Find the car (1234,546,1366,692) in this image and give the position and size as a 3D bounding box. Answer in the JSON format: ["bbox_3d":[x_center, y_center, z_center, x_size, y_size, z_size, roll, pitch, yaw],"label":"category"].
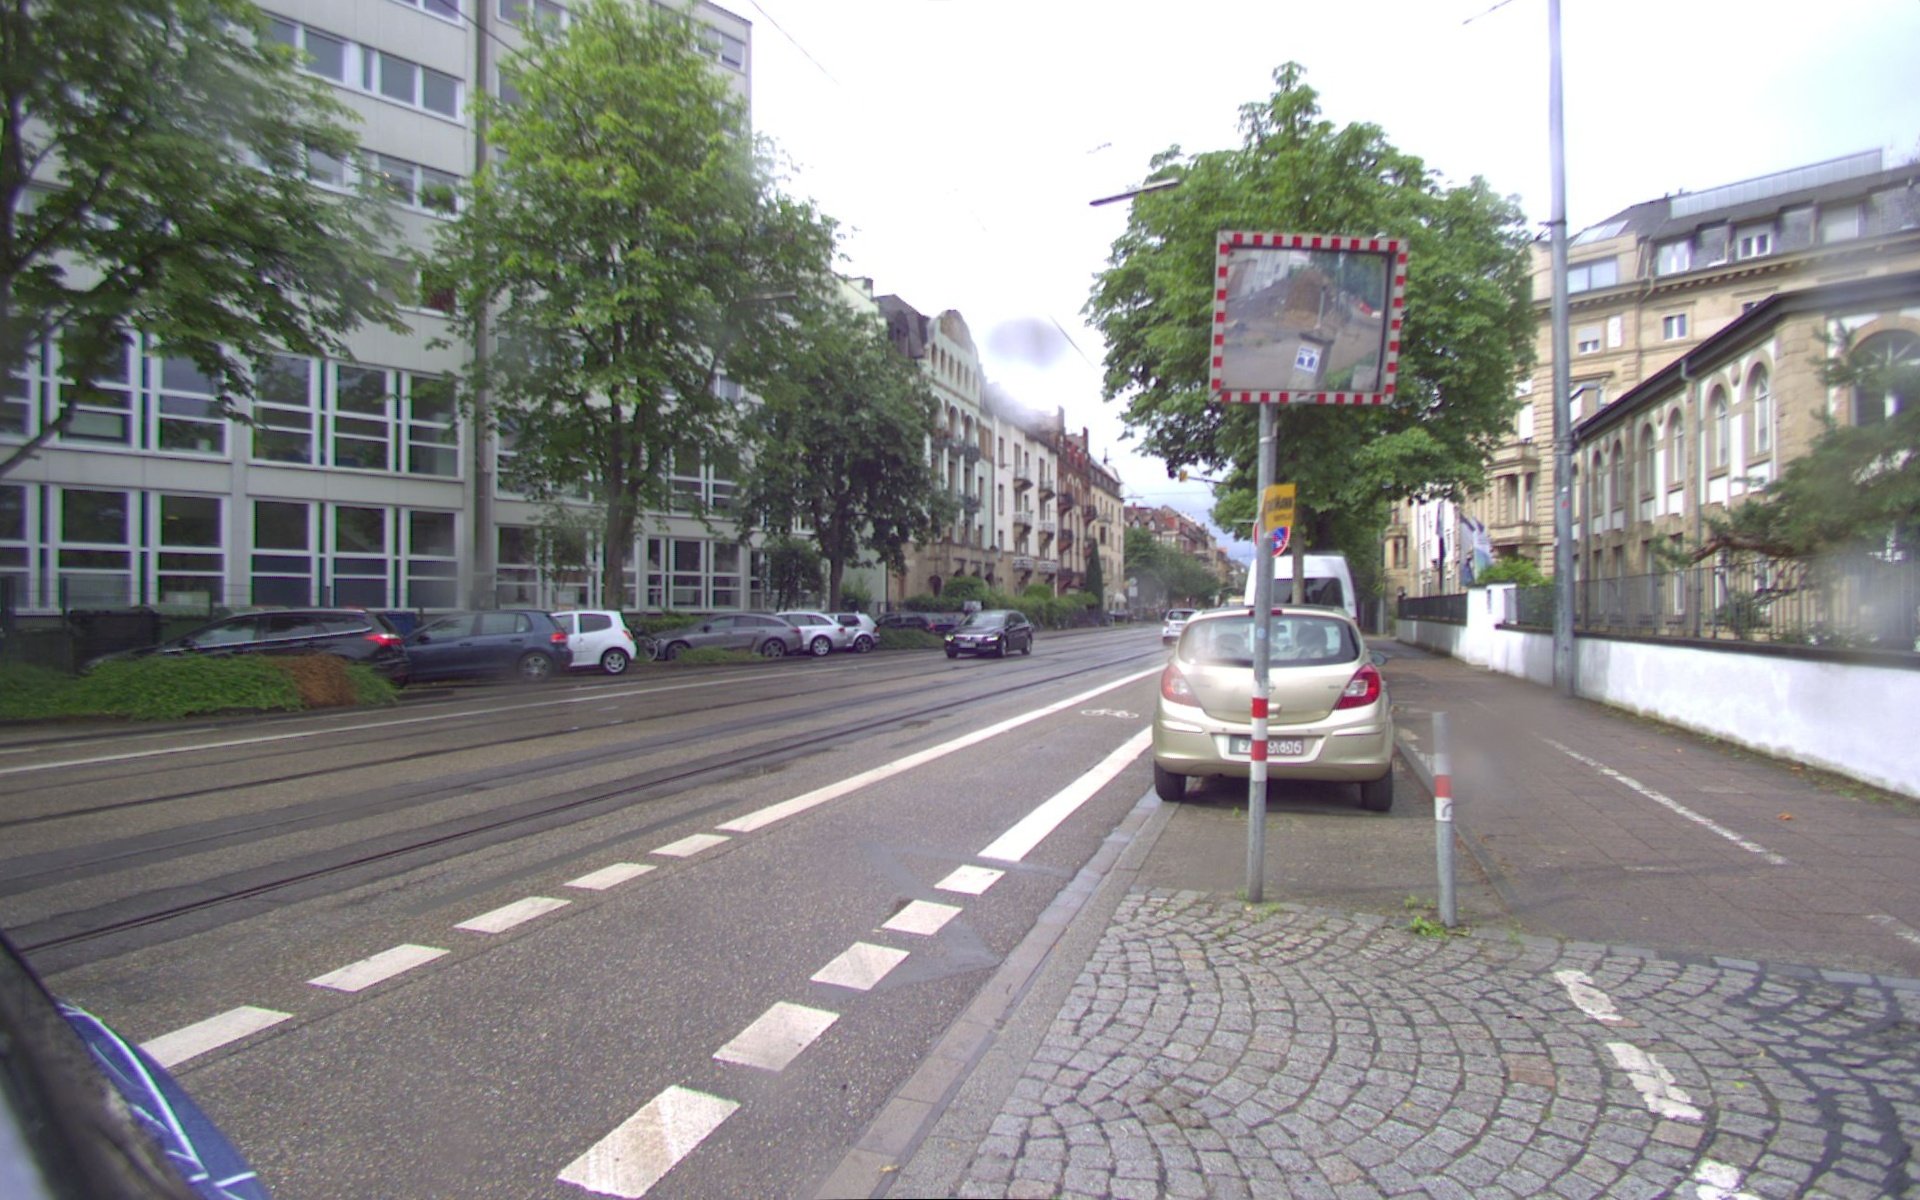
[{"bbox_3d":[6.868,0.404,20.507,2.123,2.529,5.240,-3,-2,19],"label":"car"}]

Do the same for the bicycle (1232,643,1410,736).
[{"bbox_3d":[4.316,1.075,12.199,1.912,0.994,0.681,-4,-1,18],"label":"bicycle"}]

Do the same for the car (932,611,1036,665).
[{"bbox_3d":[0.853,1.117,31.509,1.983,1.492,4.736,-2,-1,18],"label":"car"}]

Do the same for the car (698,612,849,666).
[{"bbox_3d":[-5.898,1.208,32.057,4.319,1.463,1.891,-2,0,-25],"label":"car"}]

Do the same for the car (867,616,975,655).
[{"bbox_3d":[-1.737,1.541,44.508,4.365,1.463,1.912,-2,0,-17],"label":"car"}]

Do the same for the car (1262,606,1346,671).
[{"bbox_3d":[9.012,0.984,26.370,1.901,1.562,3.346,-2,-2,21],"label":"car"}]

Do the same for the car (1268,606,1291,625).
[{"bbox_3d":[34.847,1.695,110.296,1.836,1.900,3.893,-2,0,24],"label":"car"}]

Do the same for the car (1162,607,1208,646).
[{"bbox_3d":[9.660,1.110,43.350,1.602,1.526,2.590,-2,0,19],"label":"car"}]

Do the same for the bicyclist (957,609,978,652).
[{"bbox_3d":[0.284,1.199,39.872,0.639,1.629,0.671,-2,-1,14],"label":"bicyclist"}]

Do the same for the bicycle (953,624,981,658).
[{"bbox_3d":[0.299,1.598,39.880,0.639,1.275,1.860,-2,-1,14],"label":"bicycle"}]

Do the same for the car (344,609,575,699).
[{"bbox_3d":[-9.610,0.988,19.630,3.815,1.465,1.828,-2,-1,-26],"label":"car"}]

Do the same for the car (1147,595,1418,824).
[{"bbox_3d":[2.730,0.758,8.595,1.677,1.471,3.809,-2,-2,19],"label":"car"}]

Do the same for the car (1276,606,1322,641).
[{"bbox_3d":[15.878,1.073,47.315,1.783,1.509,4.001,-2,0,22],"label":"car"}]

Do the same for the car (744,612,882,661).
[{"bbox_3d":[-5.090,1.235,35.049,4.296,1.463,1.912,-2,0,-25],"label":"car"}]

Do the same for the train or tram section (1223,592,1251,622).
[{"bbox_3d":[37.853,0.924,138.095,2.999,3.902,9.515,-2,0,19],"label":"train or tram section"}]

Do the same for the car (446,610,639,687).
[{"bbox_3d":[-9.301,1.039,22.607,3.815,1.465,1.783,-2,-1,-26],"label":"car"}]

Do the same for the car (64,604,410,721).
[{"bbox_3d":[-11.437,0.945,16.436,4.295,1.567,1.884,-2,-2,-27],"label":"car"}]

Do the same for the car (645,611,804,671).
[{"bbox_3d":[-6.801,1.141,29.197,4.134,1.463,1.820,-2,0,-25],"label":"car"}]

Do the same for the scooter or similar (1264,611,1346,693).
[{"bbox_3d":[5.468,0.821,16.053,1.130,1.287,0.427,0,-3,-6],"label":"scooter or similar"}]
